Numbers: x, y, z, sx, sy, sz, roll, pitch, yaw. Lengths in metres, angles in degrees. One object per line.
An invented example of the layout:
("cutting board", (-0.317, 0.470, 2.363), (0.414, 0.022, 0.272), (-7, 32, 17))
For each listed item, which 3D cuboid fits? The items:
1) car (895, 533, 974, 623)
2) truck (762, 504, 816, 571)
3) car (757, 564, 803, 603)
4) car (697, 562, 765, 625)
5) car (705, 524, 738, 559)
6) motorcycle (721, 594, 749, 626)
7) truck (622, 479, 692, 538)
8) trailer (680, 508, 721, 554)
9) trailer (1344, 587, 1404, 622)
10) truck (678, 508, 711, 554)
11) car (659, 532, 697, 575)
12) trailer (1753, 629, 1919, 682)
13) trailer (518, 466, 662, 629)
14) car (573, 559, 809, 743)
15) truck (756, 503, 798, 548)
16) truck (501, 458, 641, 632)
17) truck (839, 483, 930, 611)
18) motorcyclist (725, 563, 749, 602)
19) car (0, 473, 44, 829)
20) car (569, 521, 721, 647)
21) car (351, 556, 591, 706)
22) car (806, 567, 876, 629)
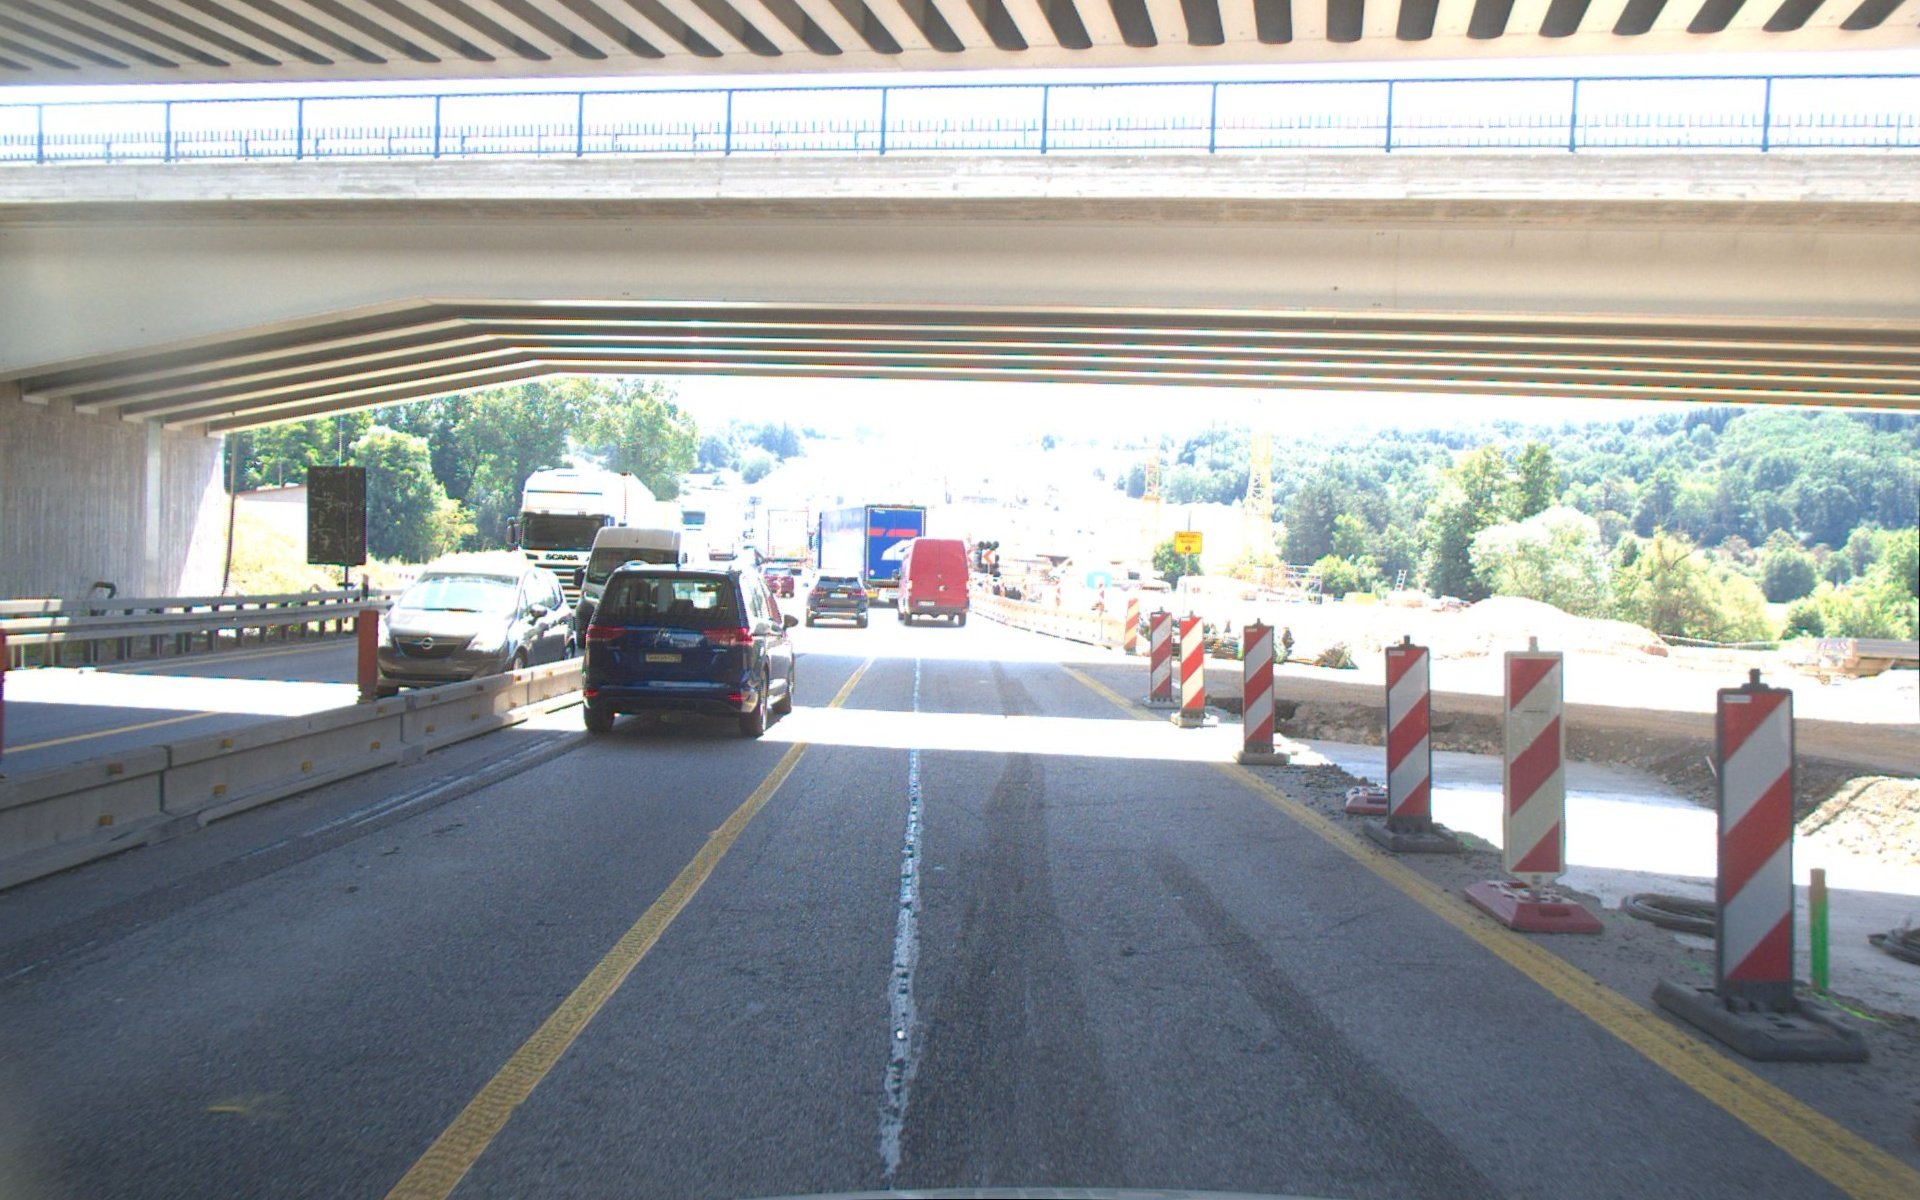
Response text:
("car", (-0.870, -0.626, 52.344), (2.108, 2.657, 5.433), (1, -1, -5))
("truck", (-10.964, -4.020, 105.503), (3.122, 4.058, 6.732), (1, 3, -8))
("car", (-8.353, -0.781, 76.529), (1.800, 1.663, 4.097), (1, 2, -10))
("car", (-6.629, -0.219, 48.164), (1.712, 1.699, 4.075), (1, 1, -5))
("car", (-17.590, -4.342, 121.949), (2.222, 2.395, 5.154), (1, 3, -7))
("motorcycle", (-8.486, 0.353, 62.516), (0.816, 1.170, 2.789), (1, 0, -3))
("truck", (-24.734, -7.395, 135.858), (2.749, 4.417, 15.379), (2, 2, 0))
("trailer", (-26.206, -6.995, 167.753), (2.595, 4.366, 13.304), (2, 2, -3))
("trailer", (19.690, 0.209, 78.826), (1.591, 1.512, 3.823), (2, 1, -4))
("truck", (-25.855, -6.738, 161.219), (2.574, 4.344, 4.728), (2, 2, -5))
("car", (-17.601, -2.870, 103.012), (2.035, 2.547, 6.464), (1, 0, -12))
("trailer", (22.903, 1.412, 41.913), (4.617, 1.241, 2.055), (1, -1, -1))
("trailer", (-10.919, -1.519, 50.248), (2.823, 4.110, 14.335), (3, 1, -8))
("car", (-2.684, 0.456, 17.474), (1.698, 1.664, 4.390), (1, 0, 1))
("truck", (-16.254, -6.557, 146.473), (3.160, 3.419, 8.919), (1, -1, -10))
("truck", (-10.019, -1.388, 43.046), (2.819, 4.121, 4.879), (3, 1, -7))
("truck", (-3.245, -2.288, 69.328), (2.891, 5.030, 6.727), (1, 3, -10))
("motorcyclist", (-8.468, -0.656, 62.782), (0.794, 1.441, 0.742), (1, -1, -3))
("car", (-6.088, 0.278, 7.016), (1.764, 1.966, 4.966), (1, 0, -2))
("car", (-6.463, -0.329, 34.701), (1.940, 2.371, 6.058), (1, 0, 0))
("car", (-5.931, 0.338, 20.571), (1.713, 1.638, 4.141), (1, 0, 0))
("car", (-3.469, -0.097, 48.837), (1.796, 1.663, 4.389), (1, 1, -1))
